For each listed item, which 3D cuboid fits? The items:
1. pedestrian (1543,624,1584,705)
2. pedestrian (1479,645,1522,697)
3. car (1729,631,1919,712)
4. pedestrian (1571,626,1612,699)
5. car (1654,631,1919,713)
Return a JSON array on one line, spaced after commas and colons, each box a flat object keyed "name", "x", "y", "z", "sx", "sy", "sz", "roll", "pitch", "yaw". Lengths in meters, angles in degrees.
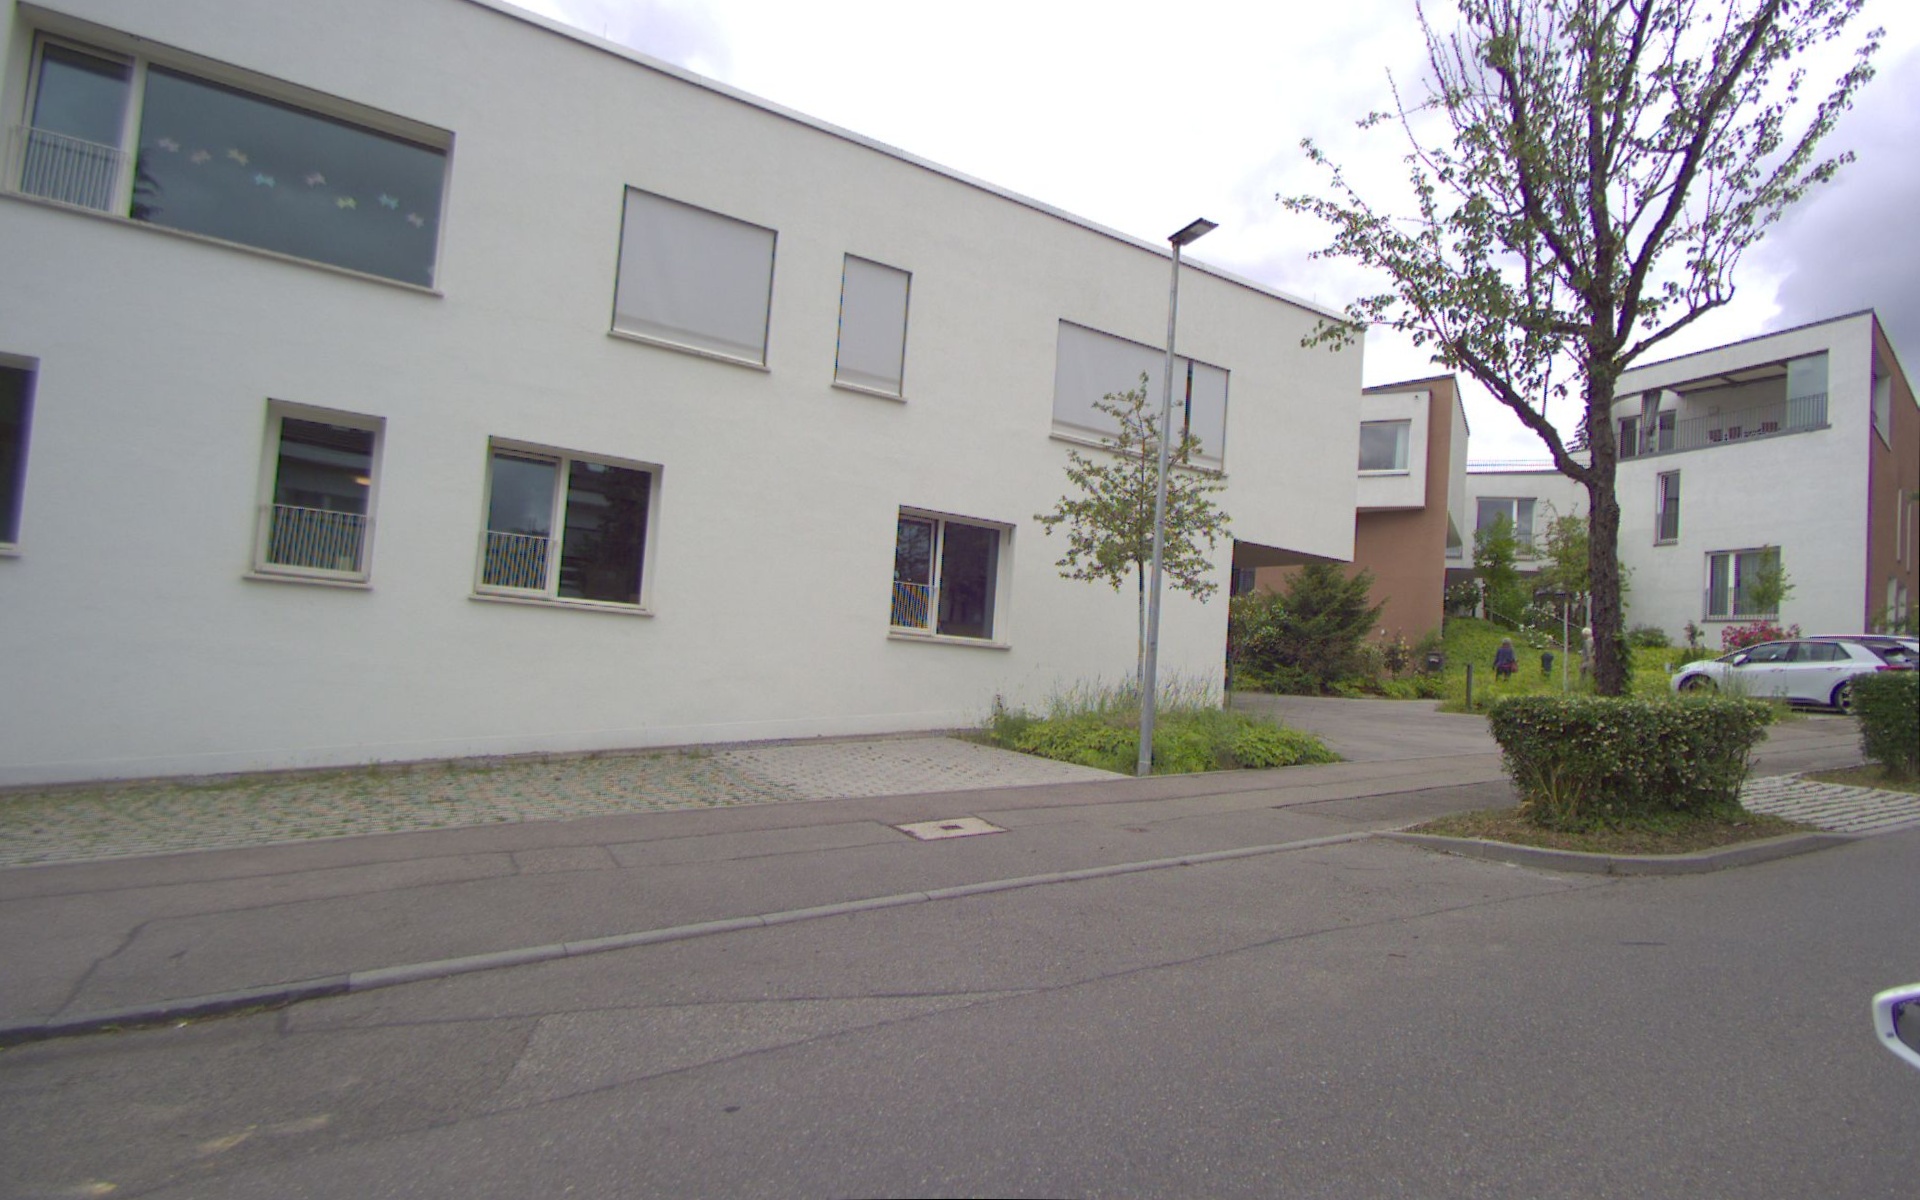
[{"name": "pedestrian", "x": 12.934, "y": 1.383, "z": 21.540, "sx": 0.513, "sy": 1.704, "sz": 0.586, "roll": 2, "pitch": -2, "yaw": -29}, {"name": "pedestrian", "x": 14.061, "y": 1.832, "z": 26.136, "sx": 0.889, "sy": 1.300, "sz": 0.604, "roll": 2, "pitch": -1, "yaw": -31}, {"name": "car", "x": 20.413, "y": 1.582, "z": 23.058, "sx": 1.984, "sy": 1.675, "sz": 3.970, "roll": 2, "pitch": -2, "yaw": -29}, {"name": "pedestrian", "x": 14.692, "y": 1.442, "z": 23.374, "sx": 0.558, "sy": 1.662, "sz": 0.591, "roll": 2, "pitch": -3, "yaw": -29}, {"name": "car", "x": 18.090, "y": 1.507, "z": 21.947, "sx": 2.043, "sy": 1.587, "sz": 4.365, "roll": 2, "pitch": -3, "yaw": -31}]
